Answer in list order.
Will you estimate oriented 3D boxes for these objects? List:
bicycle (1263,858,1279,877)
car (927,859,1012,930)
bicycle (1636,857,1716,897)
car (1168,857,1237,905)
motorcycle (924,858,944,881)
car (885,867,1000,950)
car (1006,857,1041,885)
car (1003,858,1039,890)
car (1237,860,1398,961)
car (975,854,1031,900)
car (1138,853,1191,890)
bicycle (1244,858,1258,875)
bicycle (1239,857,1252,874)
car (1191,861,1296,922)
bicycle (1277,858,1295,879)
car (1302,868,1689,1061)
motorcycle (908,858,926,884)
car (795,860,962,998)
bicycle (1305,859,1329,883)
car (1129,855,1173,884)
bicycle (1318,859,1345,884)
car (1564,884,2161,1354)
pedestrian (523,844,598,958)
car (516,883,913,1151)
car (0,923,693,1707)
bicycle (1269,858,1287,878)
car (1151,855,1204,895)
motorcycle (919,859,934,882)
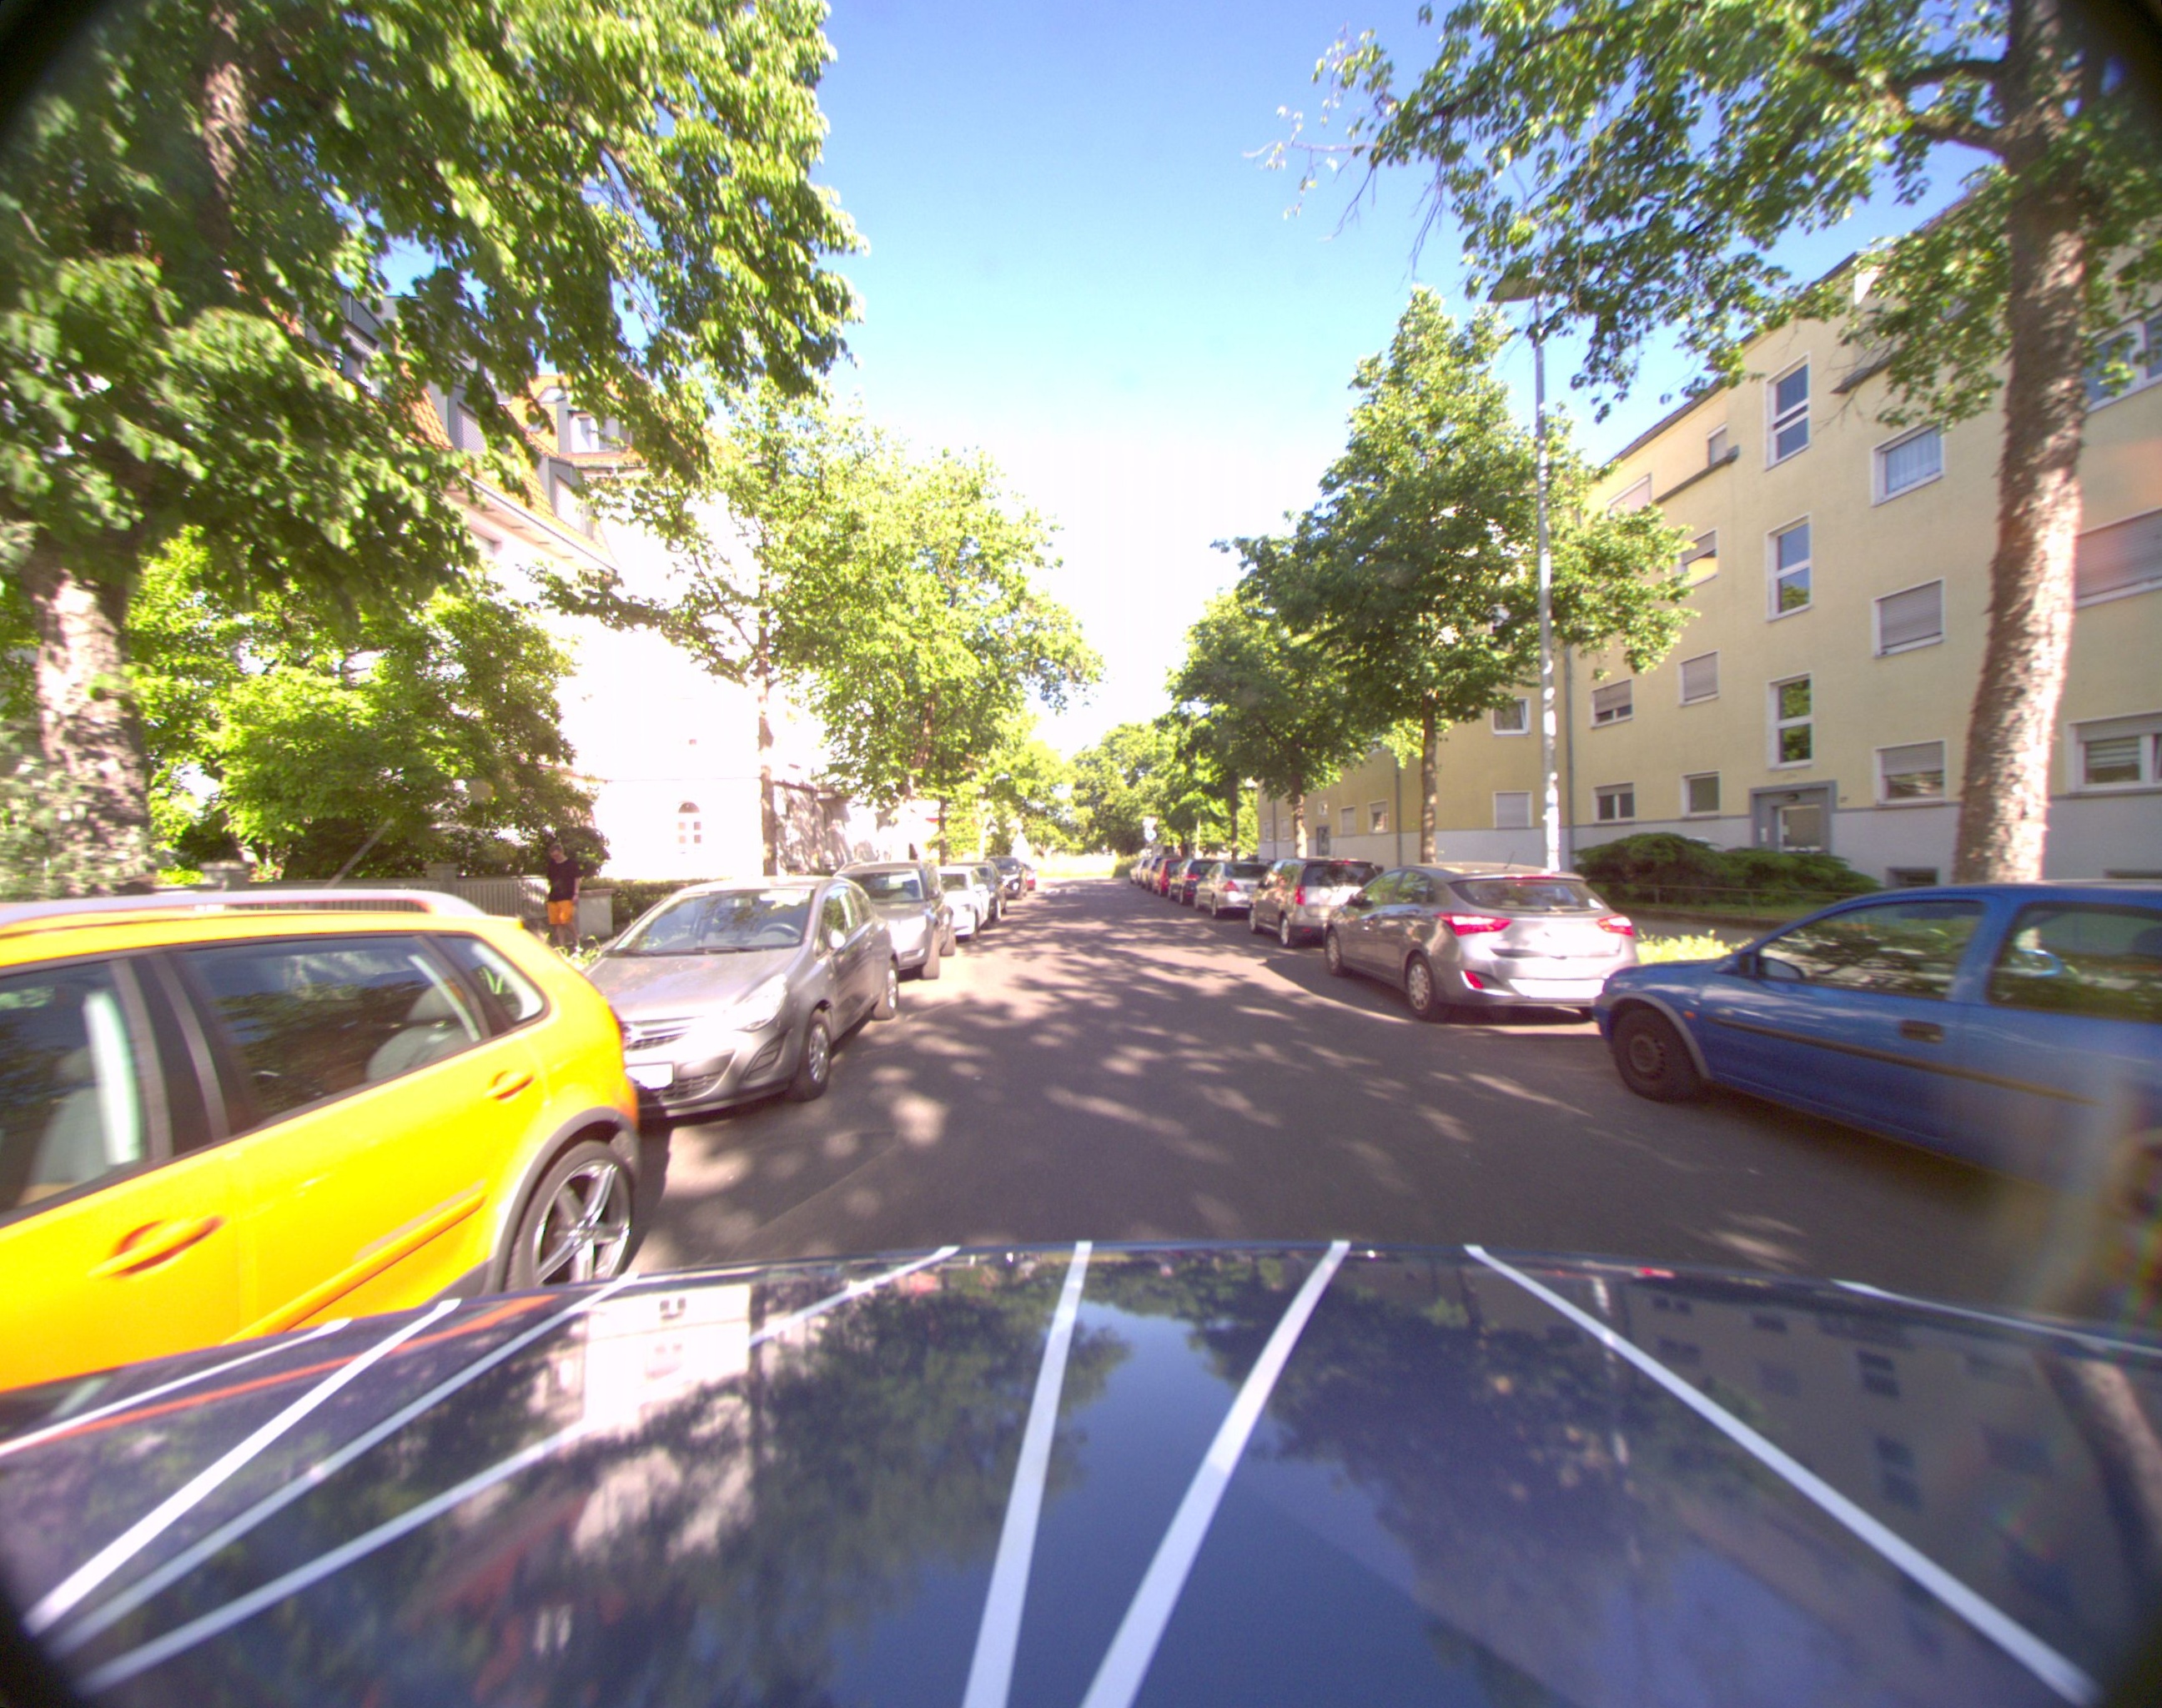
[{"bbox_3d":[10.306,0.734,41.215,0.435,0.995,1.681,-1,0,0],"label":"bicycle"},{"bbox_3d":[-2.903,1.002,20.679,1.688,1.579,4.534,-3,0,-2],"label":"car"},{"bbox_3d":[14.523,0.552,18.558,1.637,0.925,0.481,-1,1,-3],"label":"bicycle"},{"bbox_3d":[3.970,0.845,25.431,1.669,1.450,3.932,-1,0,0],"label":"car"},{"bbox_3d":[-8.837,0.913,45.710,0.973,1.321,1.852,-1,0,-6],"label":"motorcycle"},{"bbox_3d":[-2.763,1.032,16.085,1.634,1.417,4.367,0,0,0],"label":"car"},{"bbox_3d":[-3.135,0.899,41.875,1.657,1.394,4.135,-1,0,-1],"label":"car"},{"bbox_3d":[-2.901,0.930,37.039,1.616,1.401,4.349,-1,0,-4],"label":"car"},{"bbox_3d":[4.137,0.900,14.018,1.624,1.506,4.268,1,0,0],"label":"car"},{"bbox_3d":[-2.999,0.843,29.937,1.785,1.688,4.297,-1,0,-1],"label":"car"},{"bbox_3d":[3.761,0.753,34.911,1.696,1.556,4.734,-1,0,-2],"label":"car"},{"bbox_3d":[10.119,0.718,45.312,0.476,0.995,1.545,-1,0,0],"label":"bicycle"},{"bbox_3d":[10.161,0.721,46.955,0.477,0.995,1.545,-1,0,0],"label":"bicycle"},{"bbox_3d":[4.102,0.896,19.956,1.750,1.361,4.673,0,0,0],"label":"car"},{"bbox_3d":[10.161,0.725,37.664,0.516,0.995,1.545,-1,0,3],"label":"bicycle"},{"bbox_3d":[3.979,0.923,8.403,1.796,1.436,4.688,0,0,1],"label":"car"},{"bbox_3d":[-8.930,0.896,41.478,0.540,1.353,2.089,-1,0,0],"label":"motorcycle"},{"bbox_3d":[-2.832,0.949,11.440,1.653,1.646,3.845,-1,0,-3],"label":"car"},{"bbox_3d":[10.427,0.730,33.654,0.541,1.021,1.748,-1,0,1],"label":"bicycle"},{"bbox_3d":[3.757,0.818,41.332,1.765,1.434,3.993,-1,0,-4],"label":"car"},{"bbox_3d":[10.446,0.717,31.721,0.537,1.021,1.748,-1,0,1],"label":"bicycle"},{"bbox_3d":[4.250,0.924,3.560,1.525,1.387,3.726,-1,0,-2],"label":"car"},{"bbox_3d":[-8.359,0.731,12.231,0.624,1.764,0.799,0,1,0],"label":"pedestrian"},{"bbox_3d":[-2.563,1.034,6.323,1.653,1.420,3.611,-1,0,-2],"label":"car"},{"bbox_3d":[-2.513,1.036,1.261,1.641,1.446,4.099,-1,0,-1],"label":"car"},{"bbox_3d":[10.212,0.725,39.332,0.513,0.995,1.545,-1,0,0],"label":"bicycle"},{"bbox_3d":[3.809,0.805,30.329,1.669,1.477,3.256,-1,0,0],"label":"car"},{"bbox_3d":[-8.908,0.935,43.840,0.658,1.272,1.799,1,0,-7],"label":"motorcycle"}]
